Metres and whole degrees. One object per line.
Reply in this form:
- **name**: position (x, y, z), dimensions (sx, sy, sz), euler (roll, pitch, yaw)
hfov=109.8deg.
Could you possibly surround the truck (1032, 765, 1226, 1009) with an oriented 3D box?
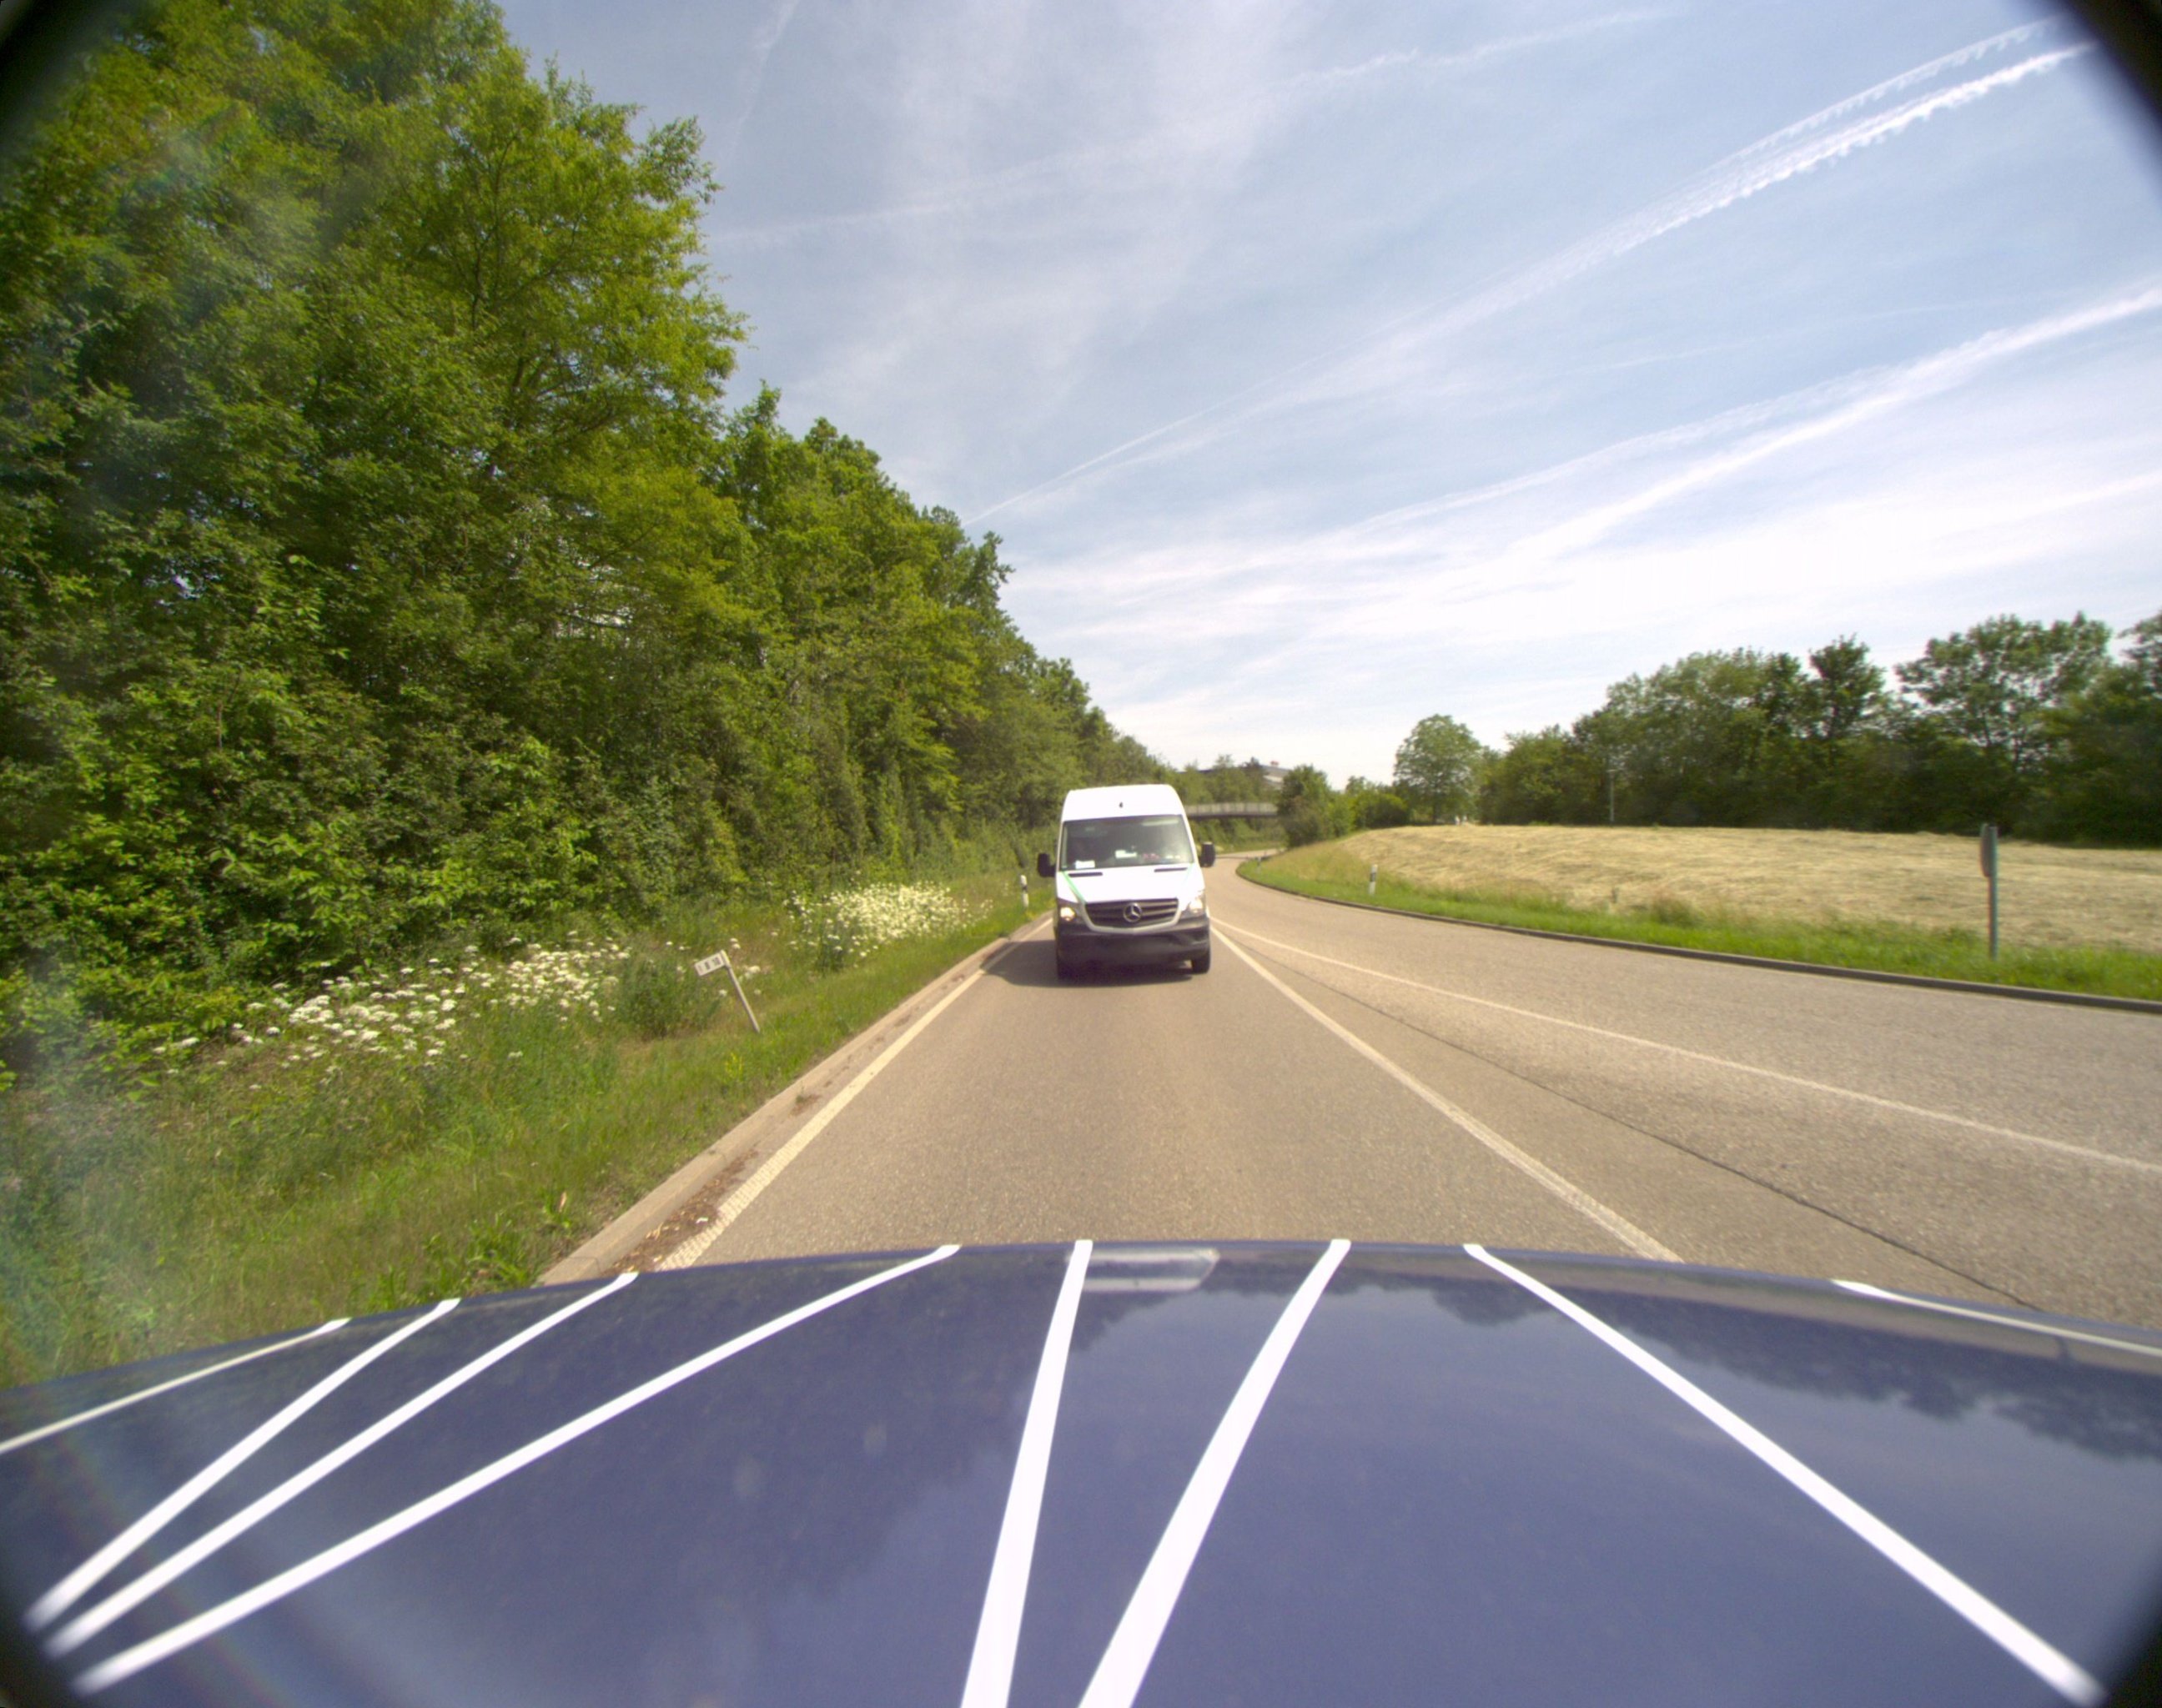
- **truck**: position (0.690, 0.389, 11.196), dimensions (1.998, 2.571, 5.889), euler (-3, 0, 3)
